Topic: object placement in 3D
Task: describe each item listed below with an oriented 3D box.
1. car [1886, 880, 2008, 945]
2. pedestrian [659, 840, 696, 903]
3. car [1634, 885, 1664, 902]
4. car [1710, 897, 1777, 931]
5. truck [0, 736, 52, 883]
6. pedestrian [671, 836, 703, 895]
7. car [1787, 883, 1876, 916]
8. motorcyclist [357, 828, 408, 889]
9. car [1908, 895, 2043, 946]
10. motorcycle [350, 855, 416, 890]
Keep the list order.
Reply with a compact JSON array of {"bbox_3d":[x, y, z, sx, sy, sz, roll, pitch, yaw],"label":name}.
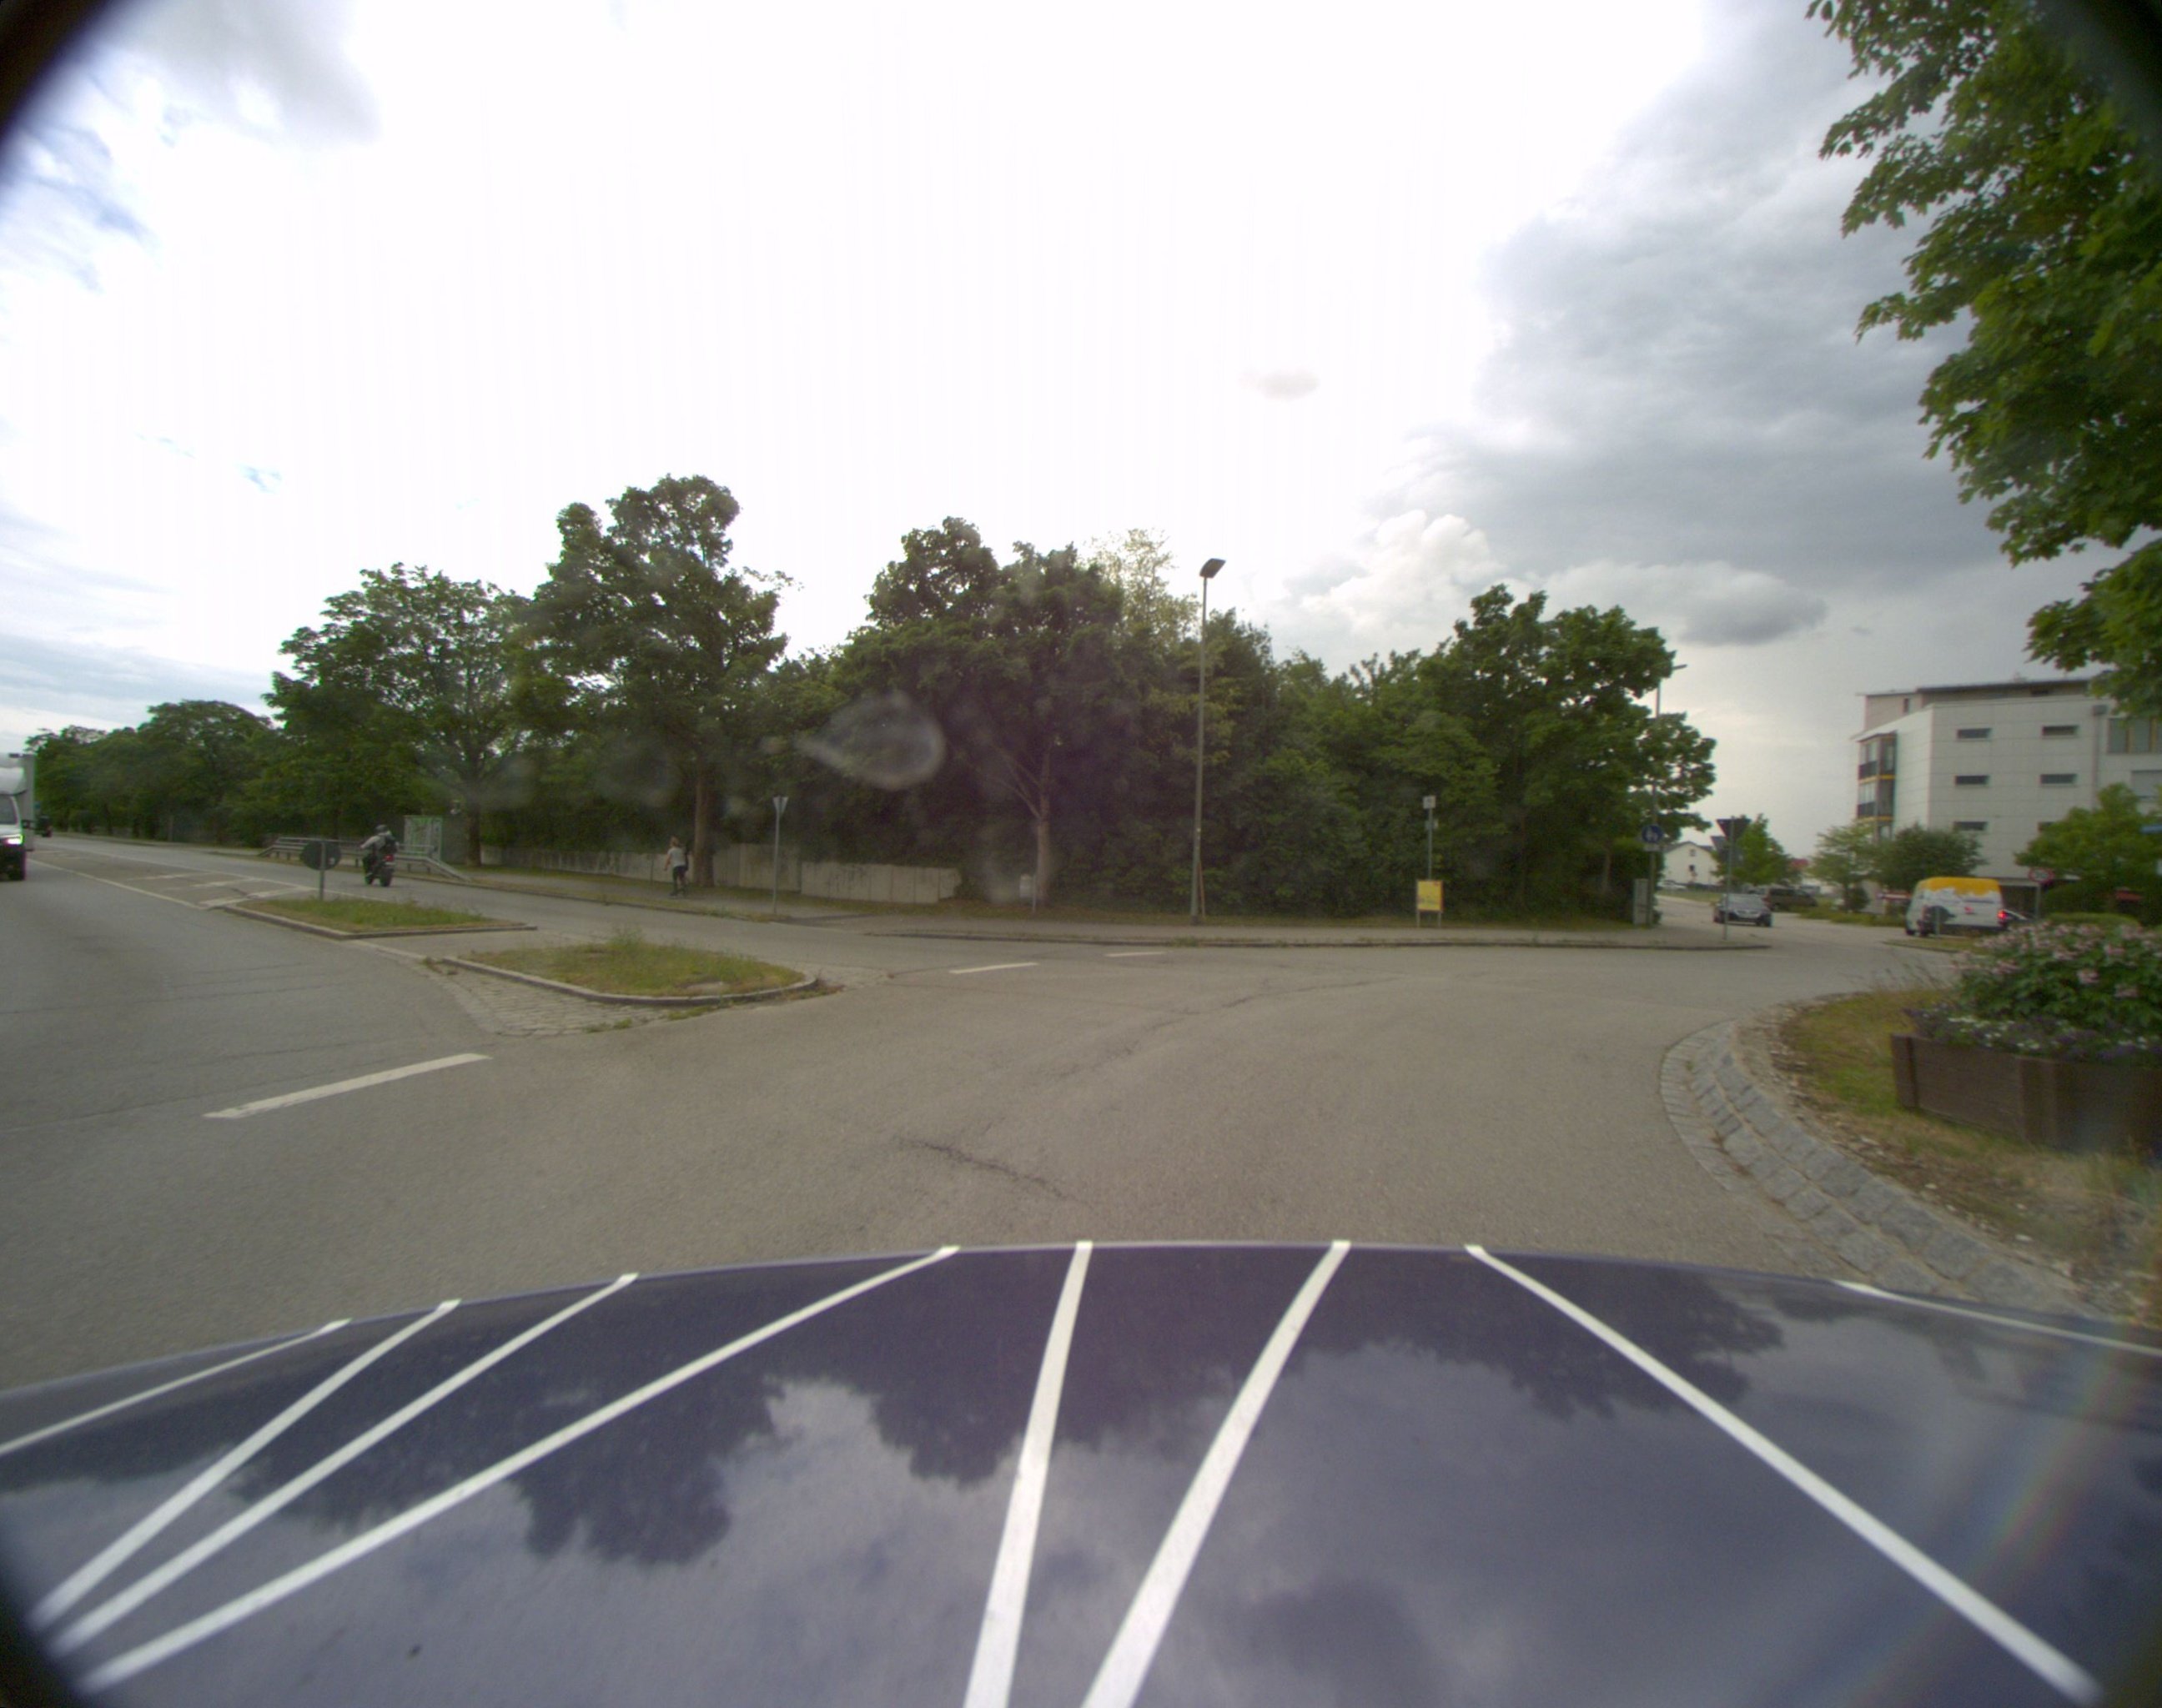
[{"bbox_3d":[35.331,2.352,31.179,2.184,2.441,4.525,-2,-4,35],"label":"car"},{"bbox_3d":[-11.560,0.496,21.761,0.593,1.770,0.733,1,1,26],"label":"pedestrian"},{"bbox_3d":[49.754,3.481,66.591,1.867,1.494,4.142,-2,-4,34],"label":"car"},{"bbox_3d":[31.030,2.788,35.700,1.867,1.494,4.142,-2,-4,34],"label":"car"},{"bbox_3d":[-28.612,-1.138,19.048,7.484,3.428,2.621,2,2,31],"label":"truck"},{"bbox_3d":[-12.235,0.335,23.604,0.613,1.798,0.636,1,1,26],"label":"pedestrian"},{"bbox_3d":[52.094,3.103,52.863,3.988,2.002,2.004,2,0,33],"label":"car"},{"bbox_3d":[-20.085,0.124,21.858,0.820,1.691,0.847,3,1,30],"label":"motorcyclist"},{"bbox_3d":[41.988,3.047,35.798,2.005,2.002,3.988,2,0,-41],"label":"car"},{"bbox_3d":[-20.076,0.519,21.843,1.608,0.925,0.941,2,0,30],"label":"motorcycle"}]
